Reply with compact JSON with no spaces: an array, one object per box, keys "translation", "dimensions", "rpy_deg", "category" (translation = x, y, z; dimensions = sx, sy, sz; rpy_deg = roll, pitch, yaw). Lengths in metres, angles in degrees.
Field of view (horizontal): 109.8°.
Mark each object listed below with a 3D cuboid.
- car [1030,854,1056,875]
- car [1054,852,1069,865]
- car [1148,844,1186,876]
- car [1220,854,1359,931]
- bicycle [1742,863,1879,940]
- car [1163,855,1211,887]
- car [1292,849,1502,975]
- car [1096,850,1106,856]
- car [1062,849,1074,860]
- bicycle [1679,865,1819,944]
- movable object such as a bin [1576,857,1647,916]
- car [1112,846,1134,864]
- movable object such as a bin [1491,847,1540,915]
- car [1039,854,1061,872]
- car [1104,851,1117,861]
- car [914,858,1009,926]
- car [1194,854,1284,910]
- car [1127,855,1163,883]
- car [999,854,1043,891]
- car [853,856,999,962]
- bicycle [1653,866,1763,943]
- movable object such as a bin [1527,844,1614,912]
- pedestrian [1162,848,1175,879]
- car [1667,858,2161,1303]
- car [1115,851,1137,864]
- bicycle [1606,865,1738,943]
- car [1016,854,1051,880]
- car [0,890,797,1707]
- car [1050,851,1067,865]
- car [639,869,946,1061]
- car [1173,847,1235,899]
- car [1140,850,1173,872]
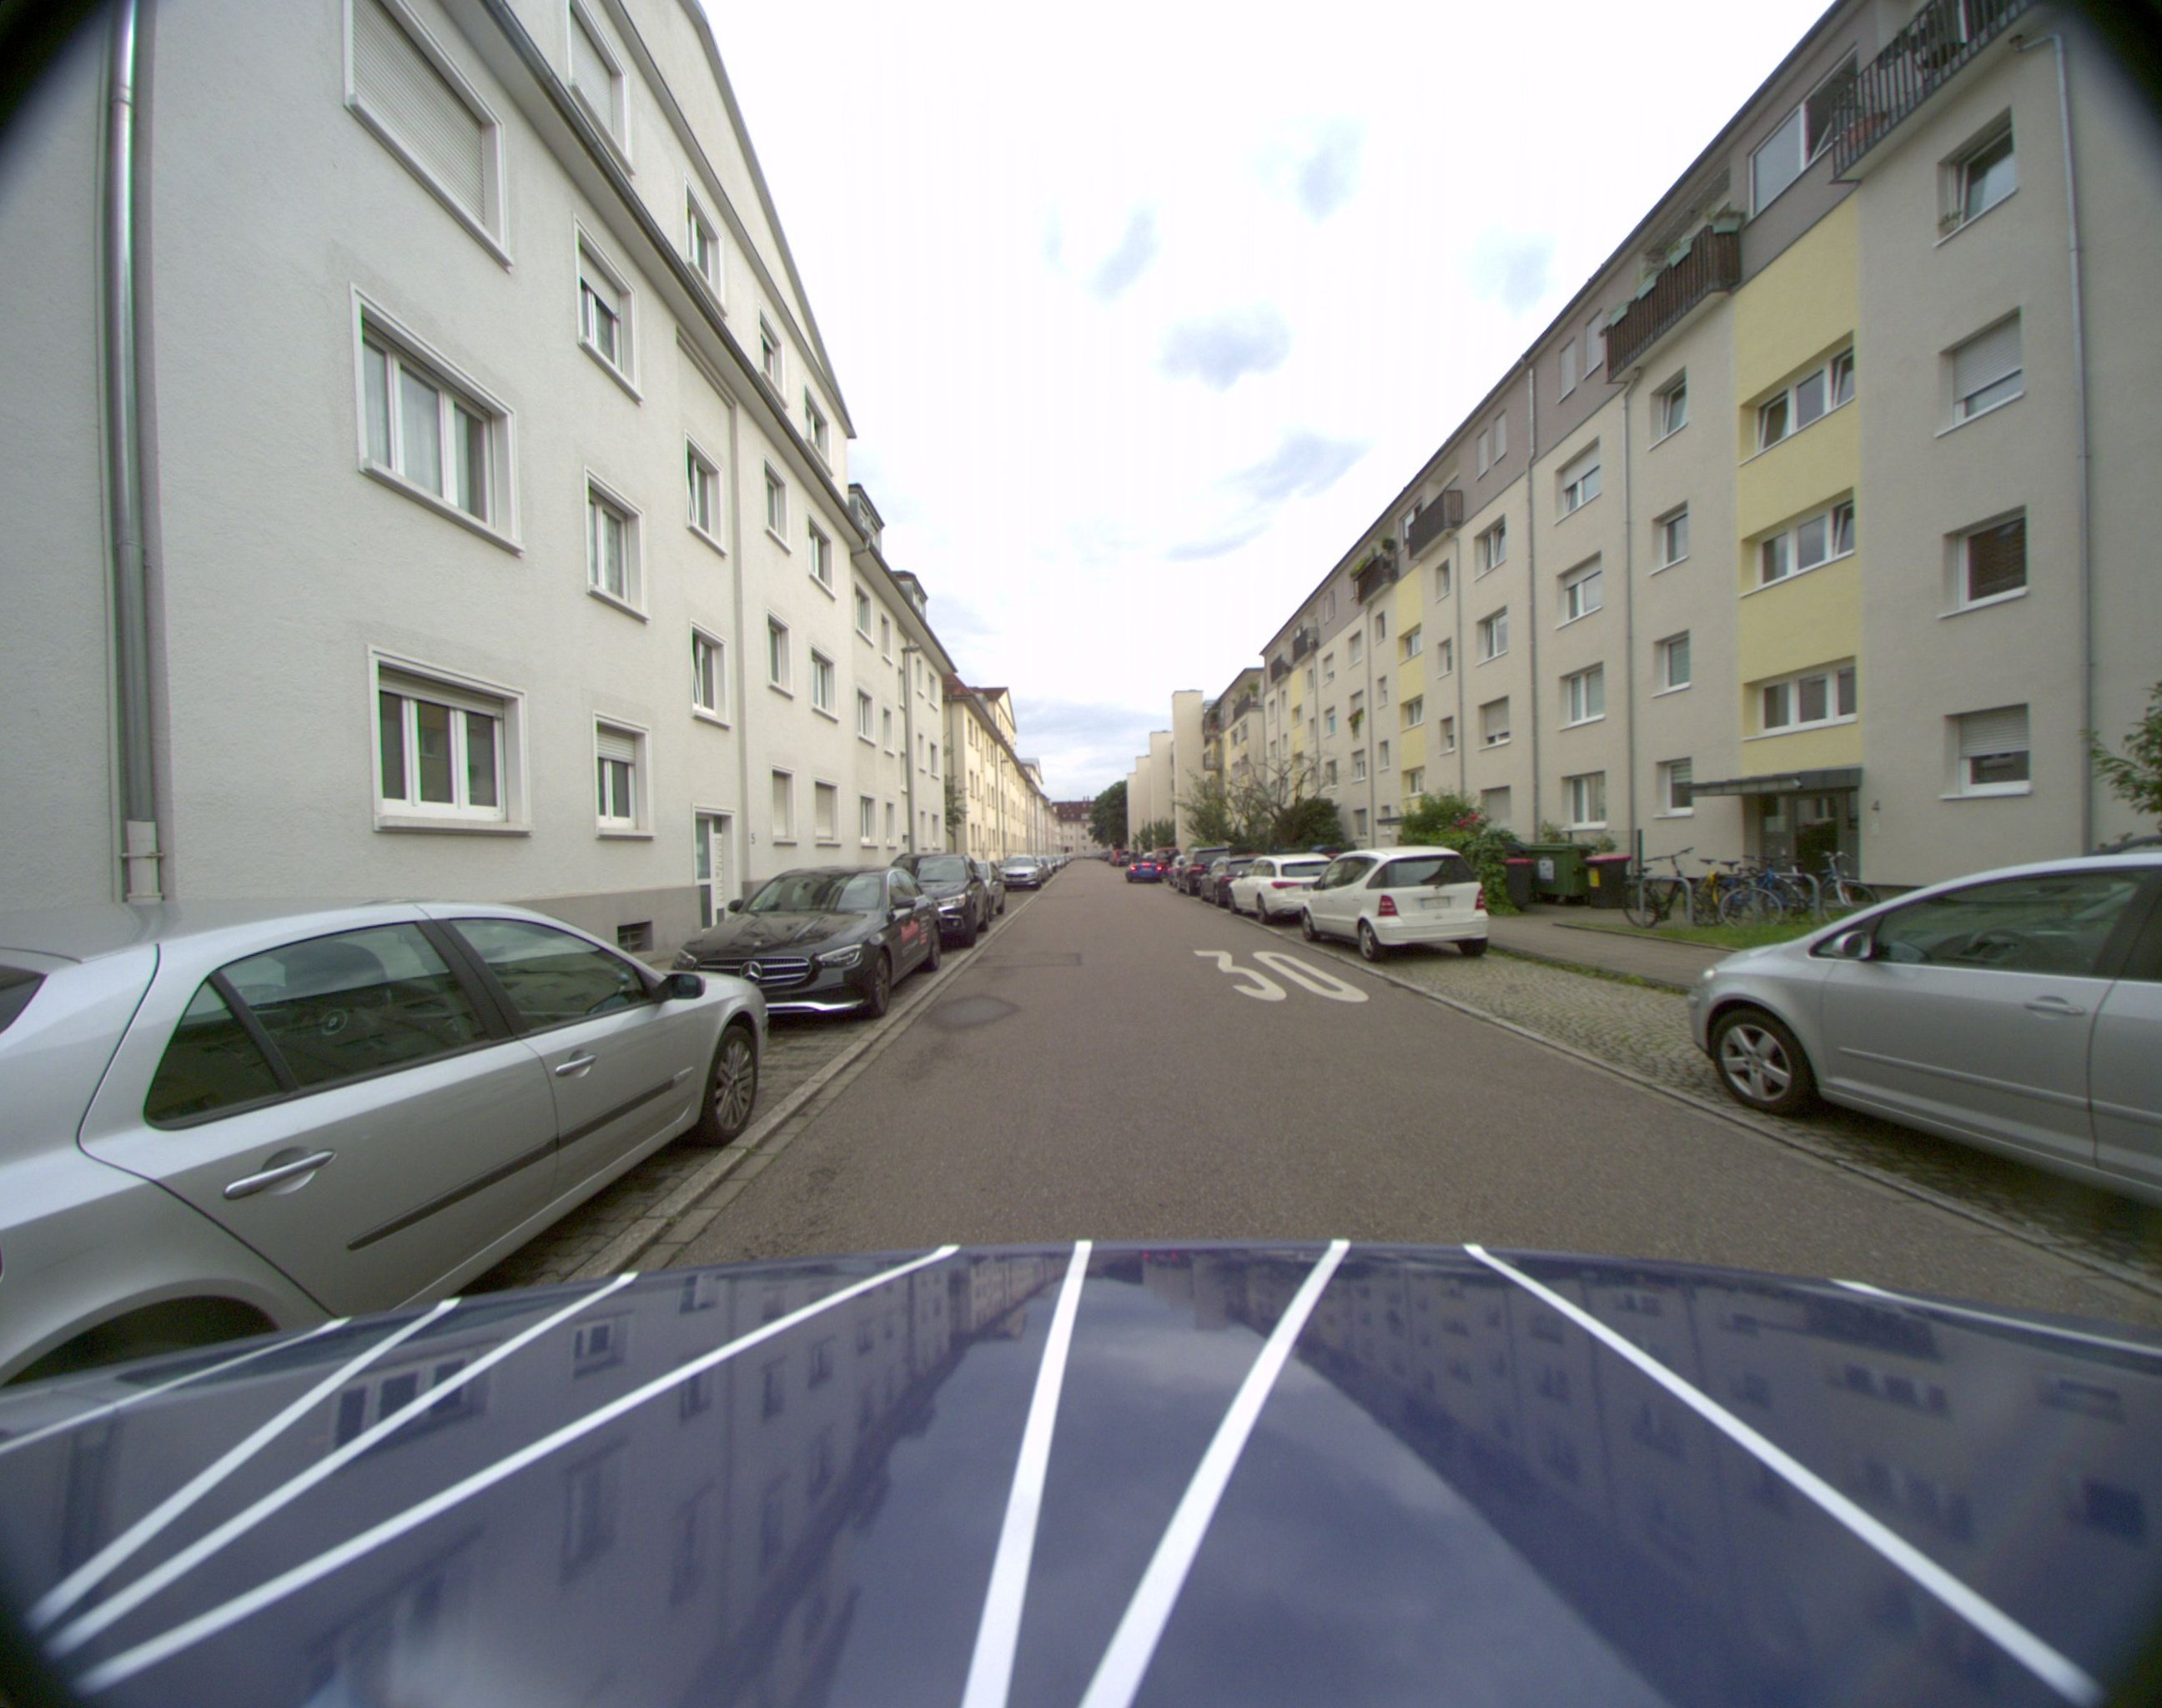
[{"translation":[-2.705,0.717,54.845],"dimensions":[1.737,1.402,4.217],"rpy_deg":[-1,0,-1],"category":"car"},{"translation":[-2.341,0.512,91.524],"dimensions":[1.737,1.443,4.217],"rpy_deg":[-1,0,-1],"category":"car"},{"translation":[5.171,0.364,46.163],"dimensions":[1.707,1.795,3.541],"rpy_deg":[-1,0,-2],"category":"car"},{"translation":[4.614,0.793,17.591],"dimensions":[1.723,1.501,4.686],"rpy_deg":[-1,0,-2],"category":"car"},{"translation":[10.555,0.653,11.060],"dimensions":[0.421,1.018,1.559],"rpy_deg":[-2,0,-3],"category":"bicycle"},{"translation":[4.918,0.772,35.612],"dimensions":[1.575,1.389,3.541],"rpy_deg":[-1,0,-2],"category":"car"},{"translation":[4.730,0.769,11.987],"dimensions":[1.689,1.629,3.727],"rpy_deg":[-1,0,-1],"category":"car"},{"translation":[4.713,-0.227,180.721],"dimensions":[1.745,1.534,3.636],"rpy_deg":[-2,0,-6],"category":"car"},{"translation":[-2.084,0.135,120.548],"dimensions":[1.737,1.670,3.591],"rpy_deg":[-1,0,-1],"category":"car"},{"translation":[9.668,0.687,11.087],"dimensions":[0.479,1.018,1.754],"rpy_deg":[-2,0,0],"category":"bicycle"},{"translation":[10.633,0.638,15.259],"dimensions":[0.871,1.103,0.787],"rpy_deg":[-2,2,-4],"category":"movable object such as a bin"},{"translation":[5.077,0.117,92.553],"dimensions":[2.188,2.019,4.422],"rpy_deg":[-1,0,-2],"category":"car"},{"translation":[9.039,0.556,15.814],"dimensions":[0.659,1.360,0.587],"rpy_deg":[-2,2,-4],"category":"movable object such as a bin"},{"translation":[-2.534,0.696,62.554],"dimensions":[1.737,1.363,4.217],"rpy_deg":[-1,0,-1],"category":"car"},{"translation":[5.139,0.336,131.159],"dimensions":[1.745,1.534,3.636],"rpy_deg":[-2,0,-6],"category":"car"},{"translation":[-2.849,0.859,18.909],"dimensions":[1.737,1.478,3.756],"rpy_deg":[-1,0,0],"category":"car"},{"translation":[4.613,0.752,22.772],"dimensions":[1.729,1.445,4.482],"rpy_deg":[-1,1,0],"category":"car"},{"translation":[3.398,0.754,40.826],"dimensions":[1.679,1.307,3.907],"rpy_deg":[-1,1,1],"category":"car"},{"translation":[-2.680,0.808,34.689],"dimensions":[1.737,1.538,3.677],"rpy_deg":[-1,1,-1],"category":"car"},{"translation":[-2.624,0.863,13.849],"dimensions":[1.853,1.589,4.159],"rpy_deg":[-1,0,-1],"category":"car"},{"translation":[9.172,0.706,11.172],"dimensions":[0.357,1.018,1.497],"rpy_deg":[-2,0,0],"category":"bicycle"},{"translation":[10.495,0.488,16.324],"dimensions":[1.059,1.367,1.188],"rpy_deg":[-2,2,-5],"category":"movable object such as a bin"},{"translation":[4.765,0.505,41.301],"dimensions":[0.603,1.657,0.622],"rpy_deg":[-2,1,-2],"category":"pedestrian"},{"translation":[4.716,0.825,3.051],"dimensions":[1.658,1.541,3.915],"rpy_deg":[-2,0,0],"category":"car"},{"translation":[5.115,0.377,86.319],"dimensions":[2.013,1.436,4.196],"rpy_deg":[-1,0,-2],"category":"car"},{"translation":[8.693,0.700,11.276],"dimensions":[0.489,1.018,1.878],"rpy_deg":[-2,0,0],"category":"bicycle"},{"translation":[-2.673,0.704,43.602],"dimensions":[1.737,1.418,4.217],"rpy_deg":[-1,0,0],"category":"car"},{"translation":[-2.705,0.982,2.764],"dimensions":[1.737,1.454,4.430],"rpy_deg":[-1,0,-1],"category":"car"},{"translation":[-2.414,0.375,81.730],"dimensions":[1.737,1.443,4.217],"rpy_deg":[-1,0,-1],"category":"car"},{"translation":[-2.737,0.947,8.379],"dimensions":[1.786,1.454,4.322],"rpy_deg":[-1,0,-1],"category":"car"},{"translation":[4.570,0.665,28.801],"dimensions":[1.575,1.769,4.452],"rpy_deg":[-1,0,-1],"category":"car"},{"translation":[5.161,0.497,52.352],"dimensions":[1.707,1.436,3.541],"rpy_deg":[-1,0,-2],"category":"car"}]
